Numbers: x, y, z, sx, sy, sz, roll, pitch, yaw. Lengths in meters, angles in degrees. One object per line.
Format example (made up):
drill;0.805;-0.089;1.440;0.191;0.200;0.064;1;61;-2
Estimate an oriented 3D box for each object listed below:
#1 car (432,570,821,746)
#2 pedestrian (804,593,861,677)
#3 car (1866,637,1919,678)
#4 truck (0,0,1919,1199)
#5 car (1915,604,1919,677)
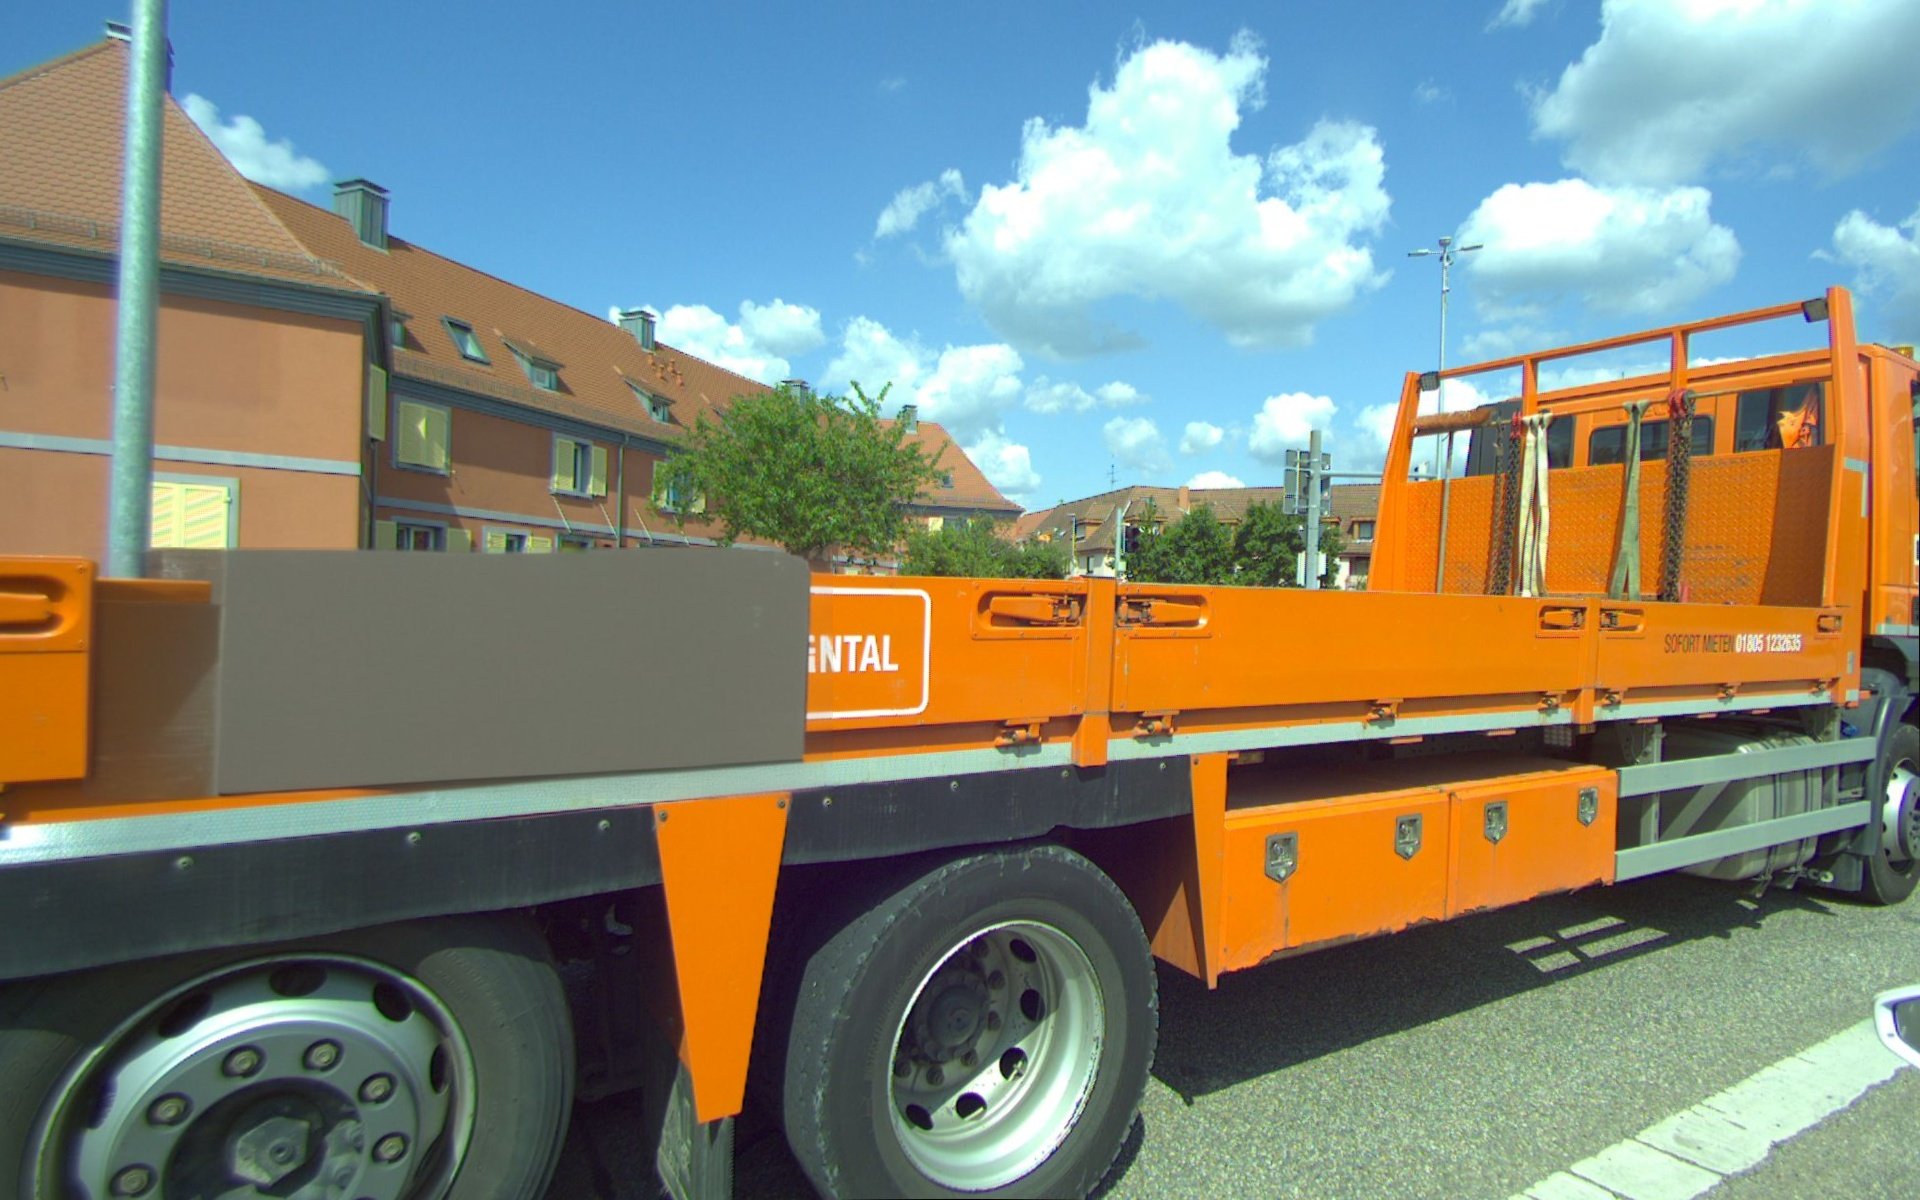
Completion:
car;-3.786;0.615;11.570;3.955;1.711;1.785;1;-1;-32
pedestrian;-2.547;0.692;20.029;0.841;1.604;0.692;2;1;-32
car;40.575;2.460;42.509;3.949;1.550;1.986;2;1;-27
truck;0.798;-0.423;4.008;10.942;3.459;3.055;2;1;-31
car;36.042;1.537;34.883;5.889;2.504;2.166;2;1;-26
